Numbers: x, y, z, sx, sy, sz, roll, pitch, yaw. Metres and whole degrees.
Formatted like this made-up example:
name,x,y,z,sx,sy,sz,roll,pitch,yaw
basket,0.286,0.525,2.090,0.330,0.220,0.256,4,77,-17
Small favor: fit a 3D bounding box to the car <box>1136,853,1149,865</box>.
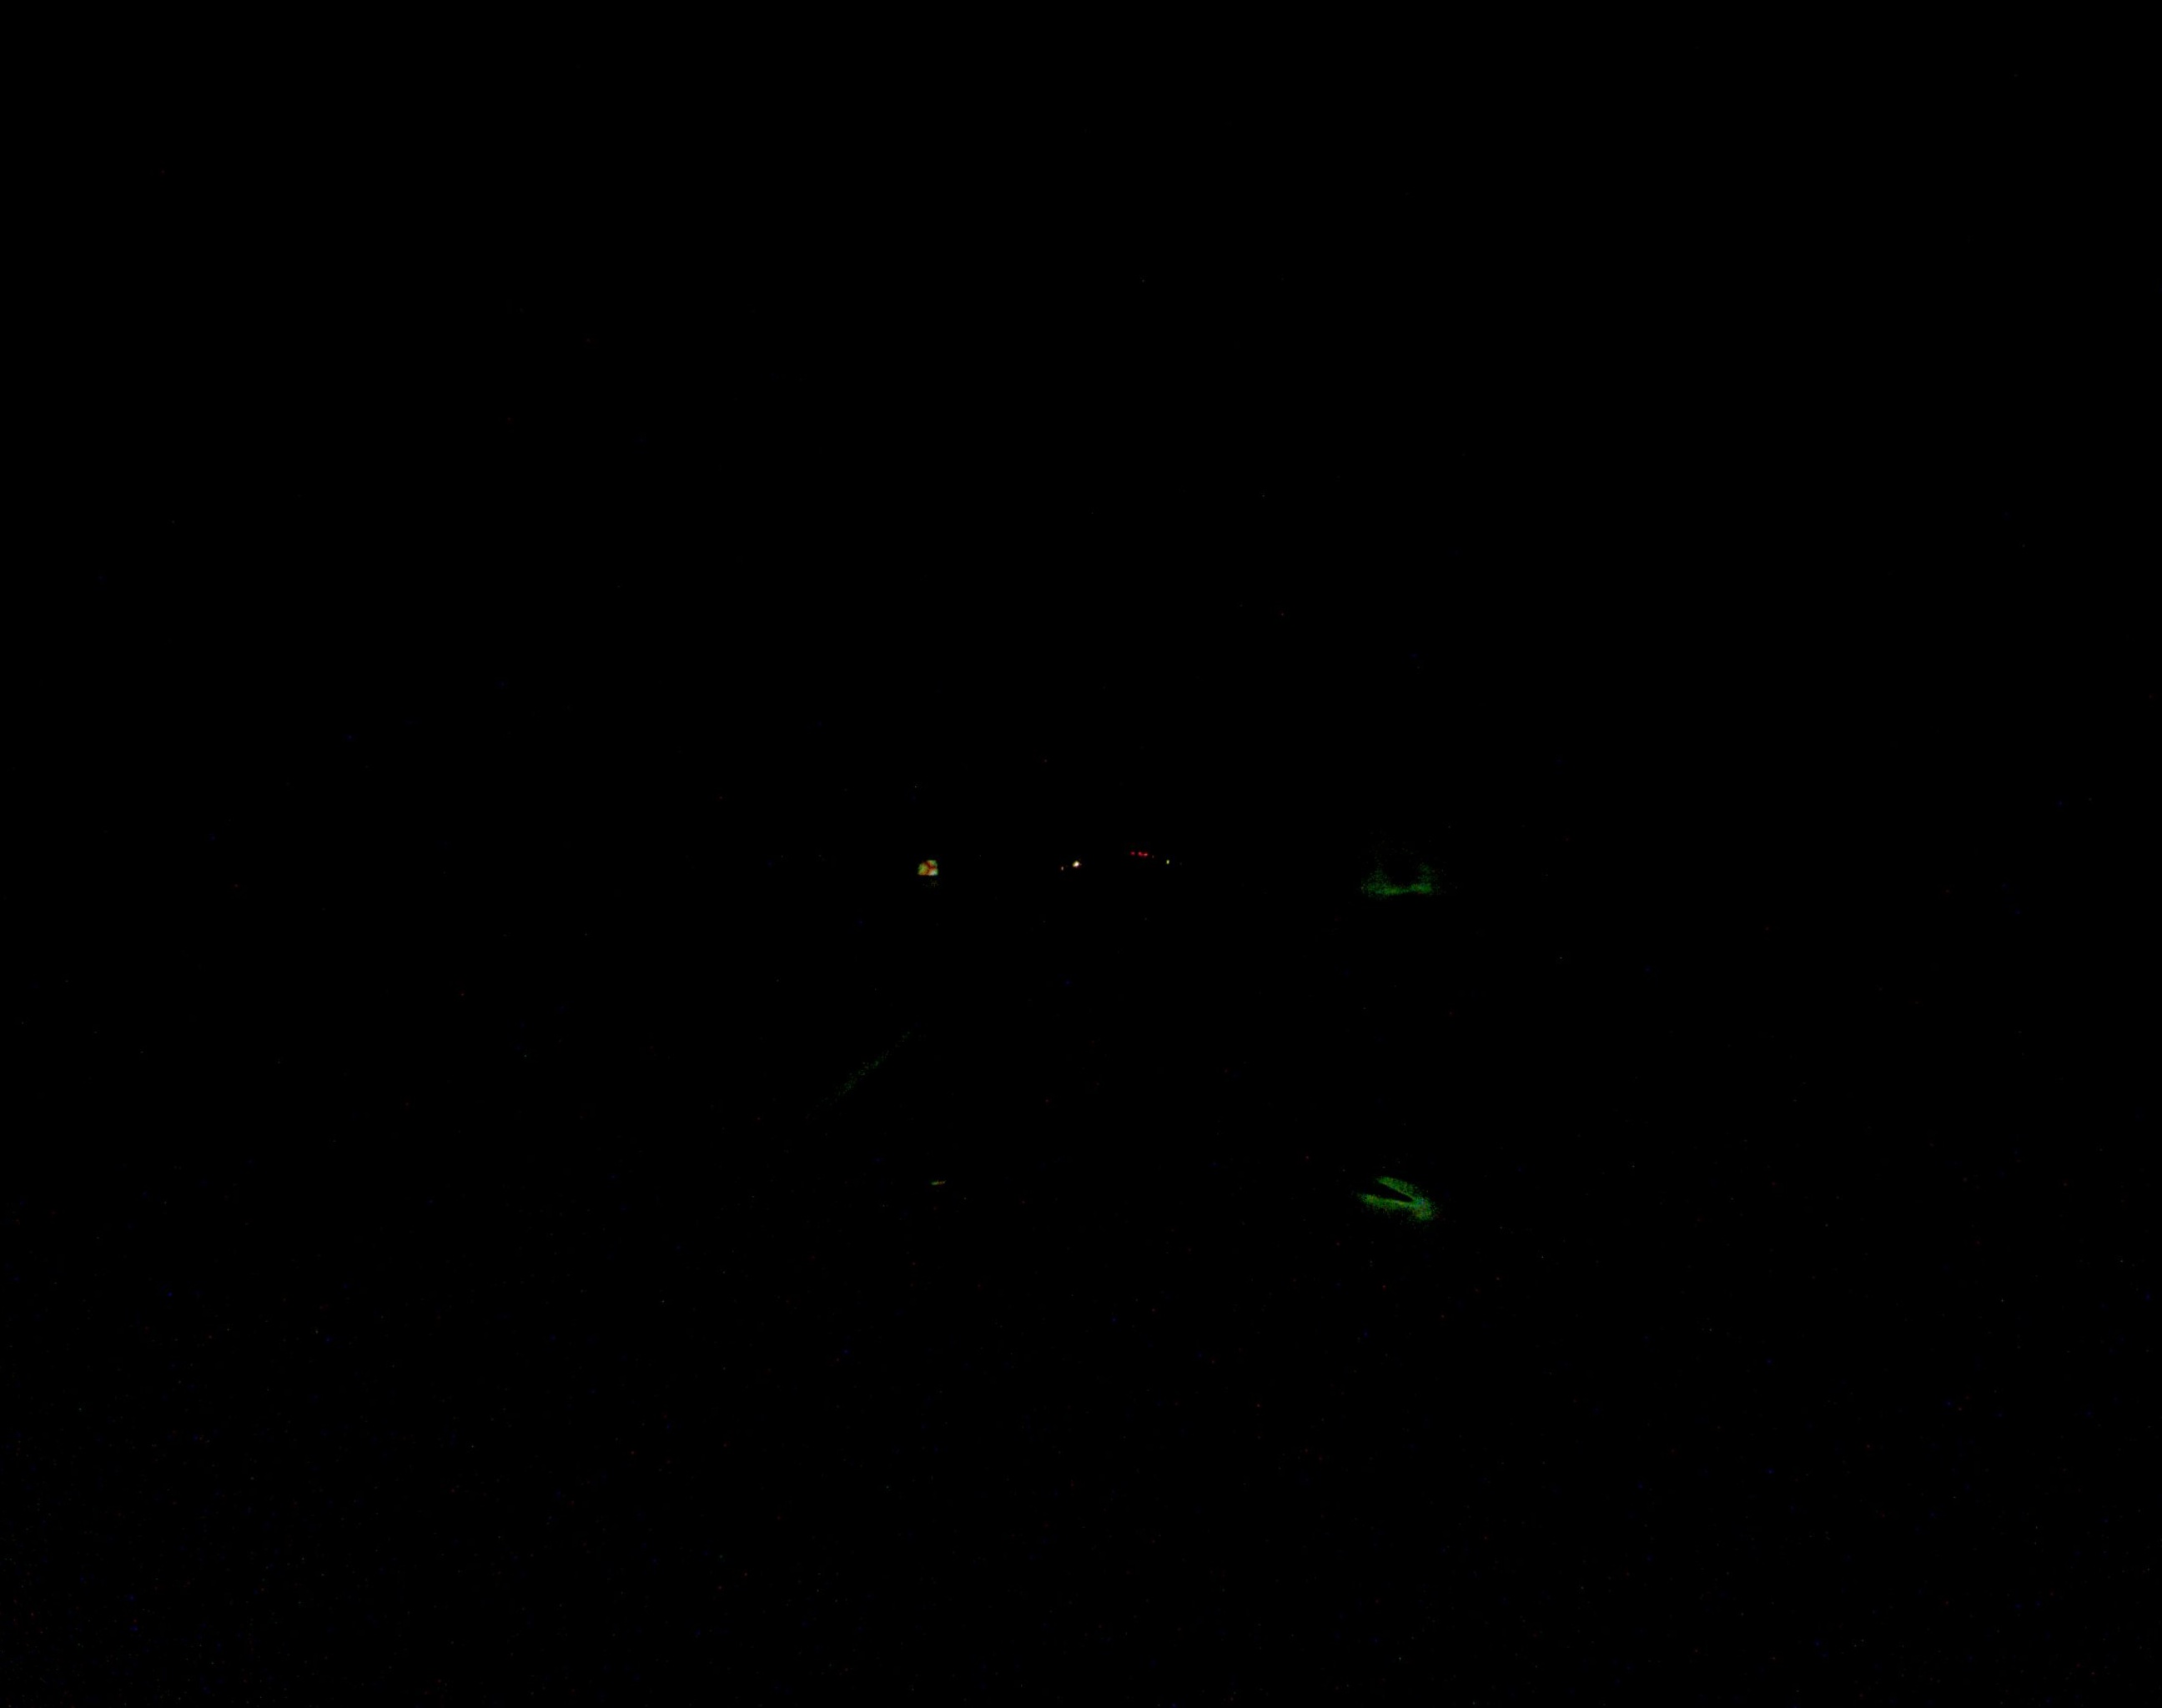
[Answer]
name,x,y,z,sx,sy,sz,roll,pitch,yaw
car,11.234,0.991,148.102,2.186,2.014,4.212,-1,-3,5
